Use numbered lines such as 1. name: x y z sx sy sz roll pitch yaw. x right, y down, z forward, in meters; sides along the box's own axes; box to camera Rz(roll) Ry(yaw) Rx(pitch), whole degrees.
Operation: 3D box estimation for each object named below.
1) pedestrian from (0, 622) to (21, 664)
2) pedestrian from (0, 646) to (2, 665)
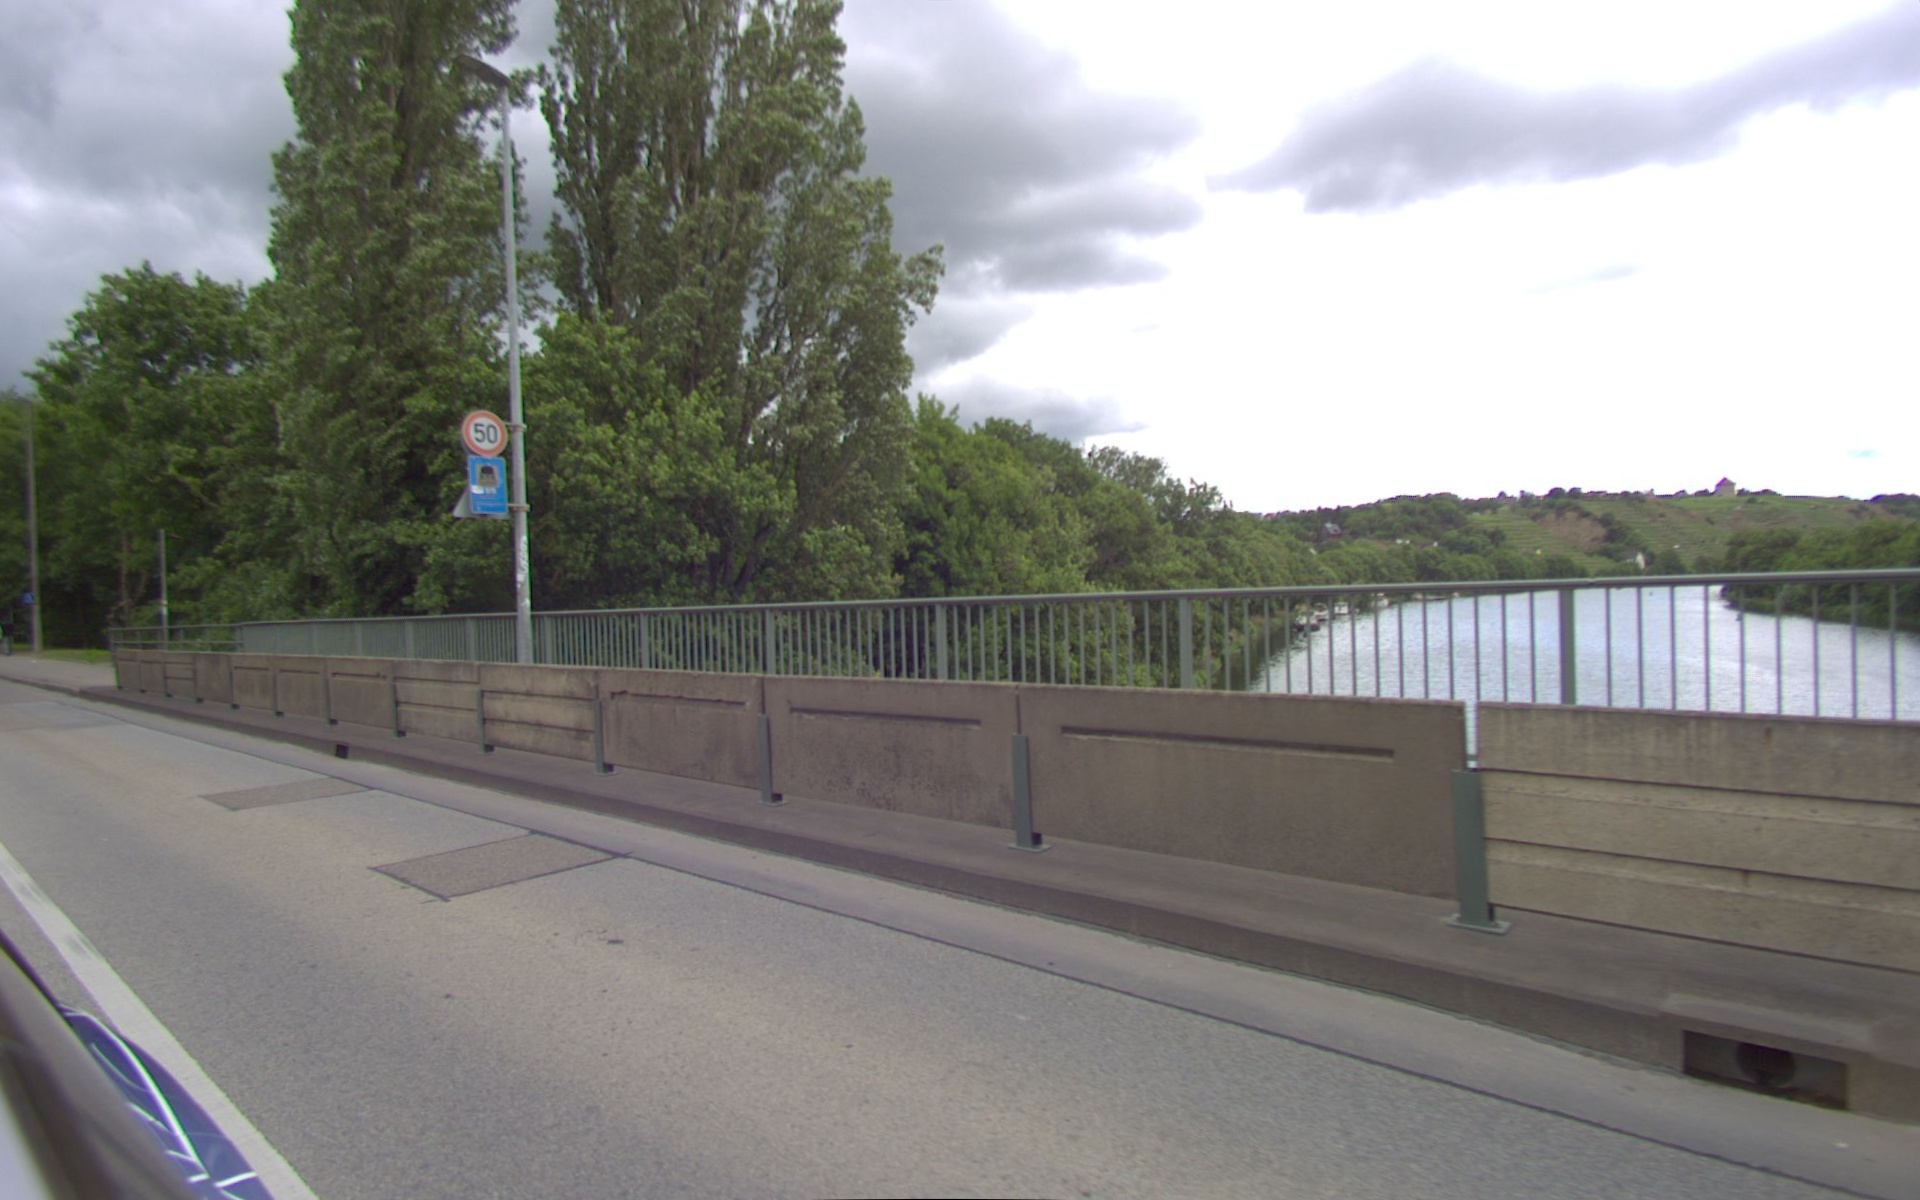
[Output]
1. pedestrian: -42.381 1.902 45.124 0.821 1.816 0.581 -2 1 40
2. pedestrian: -42.735 1.983 44.578 0.857 1.778 0.546 -2 4 40
